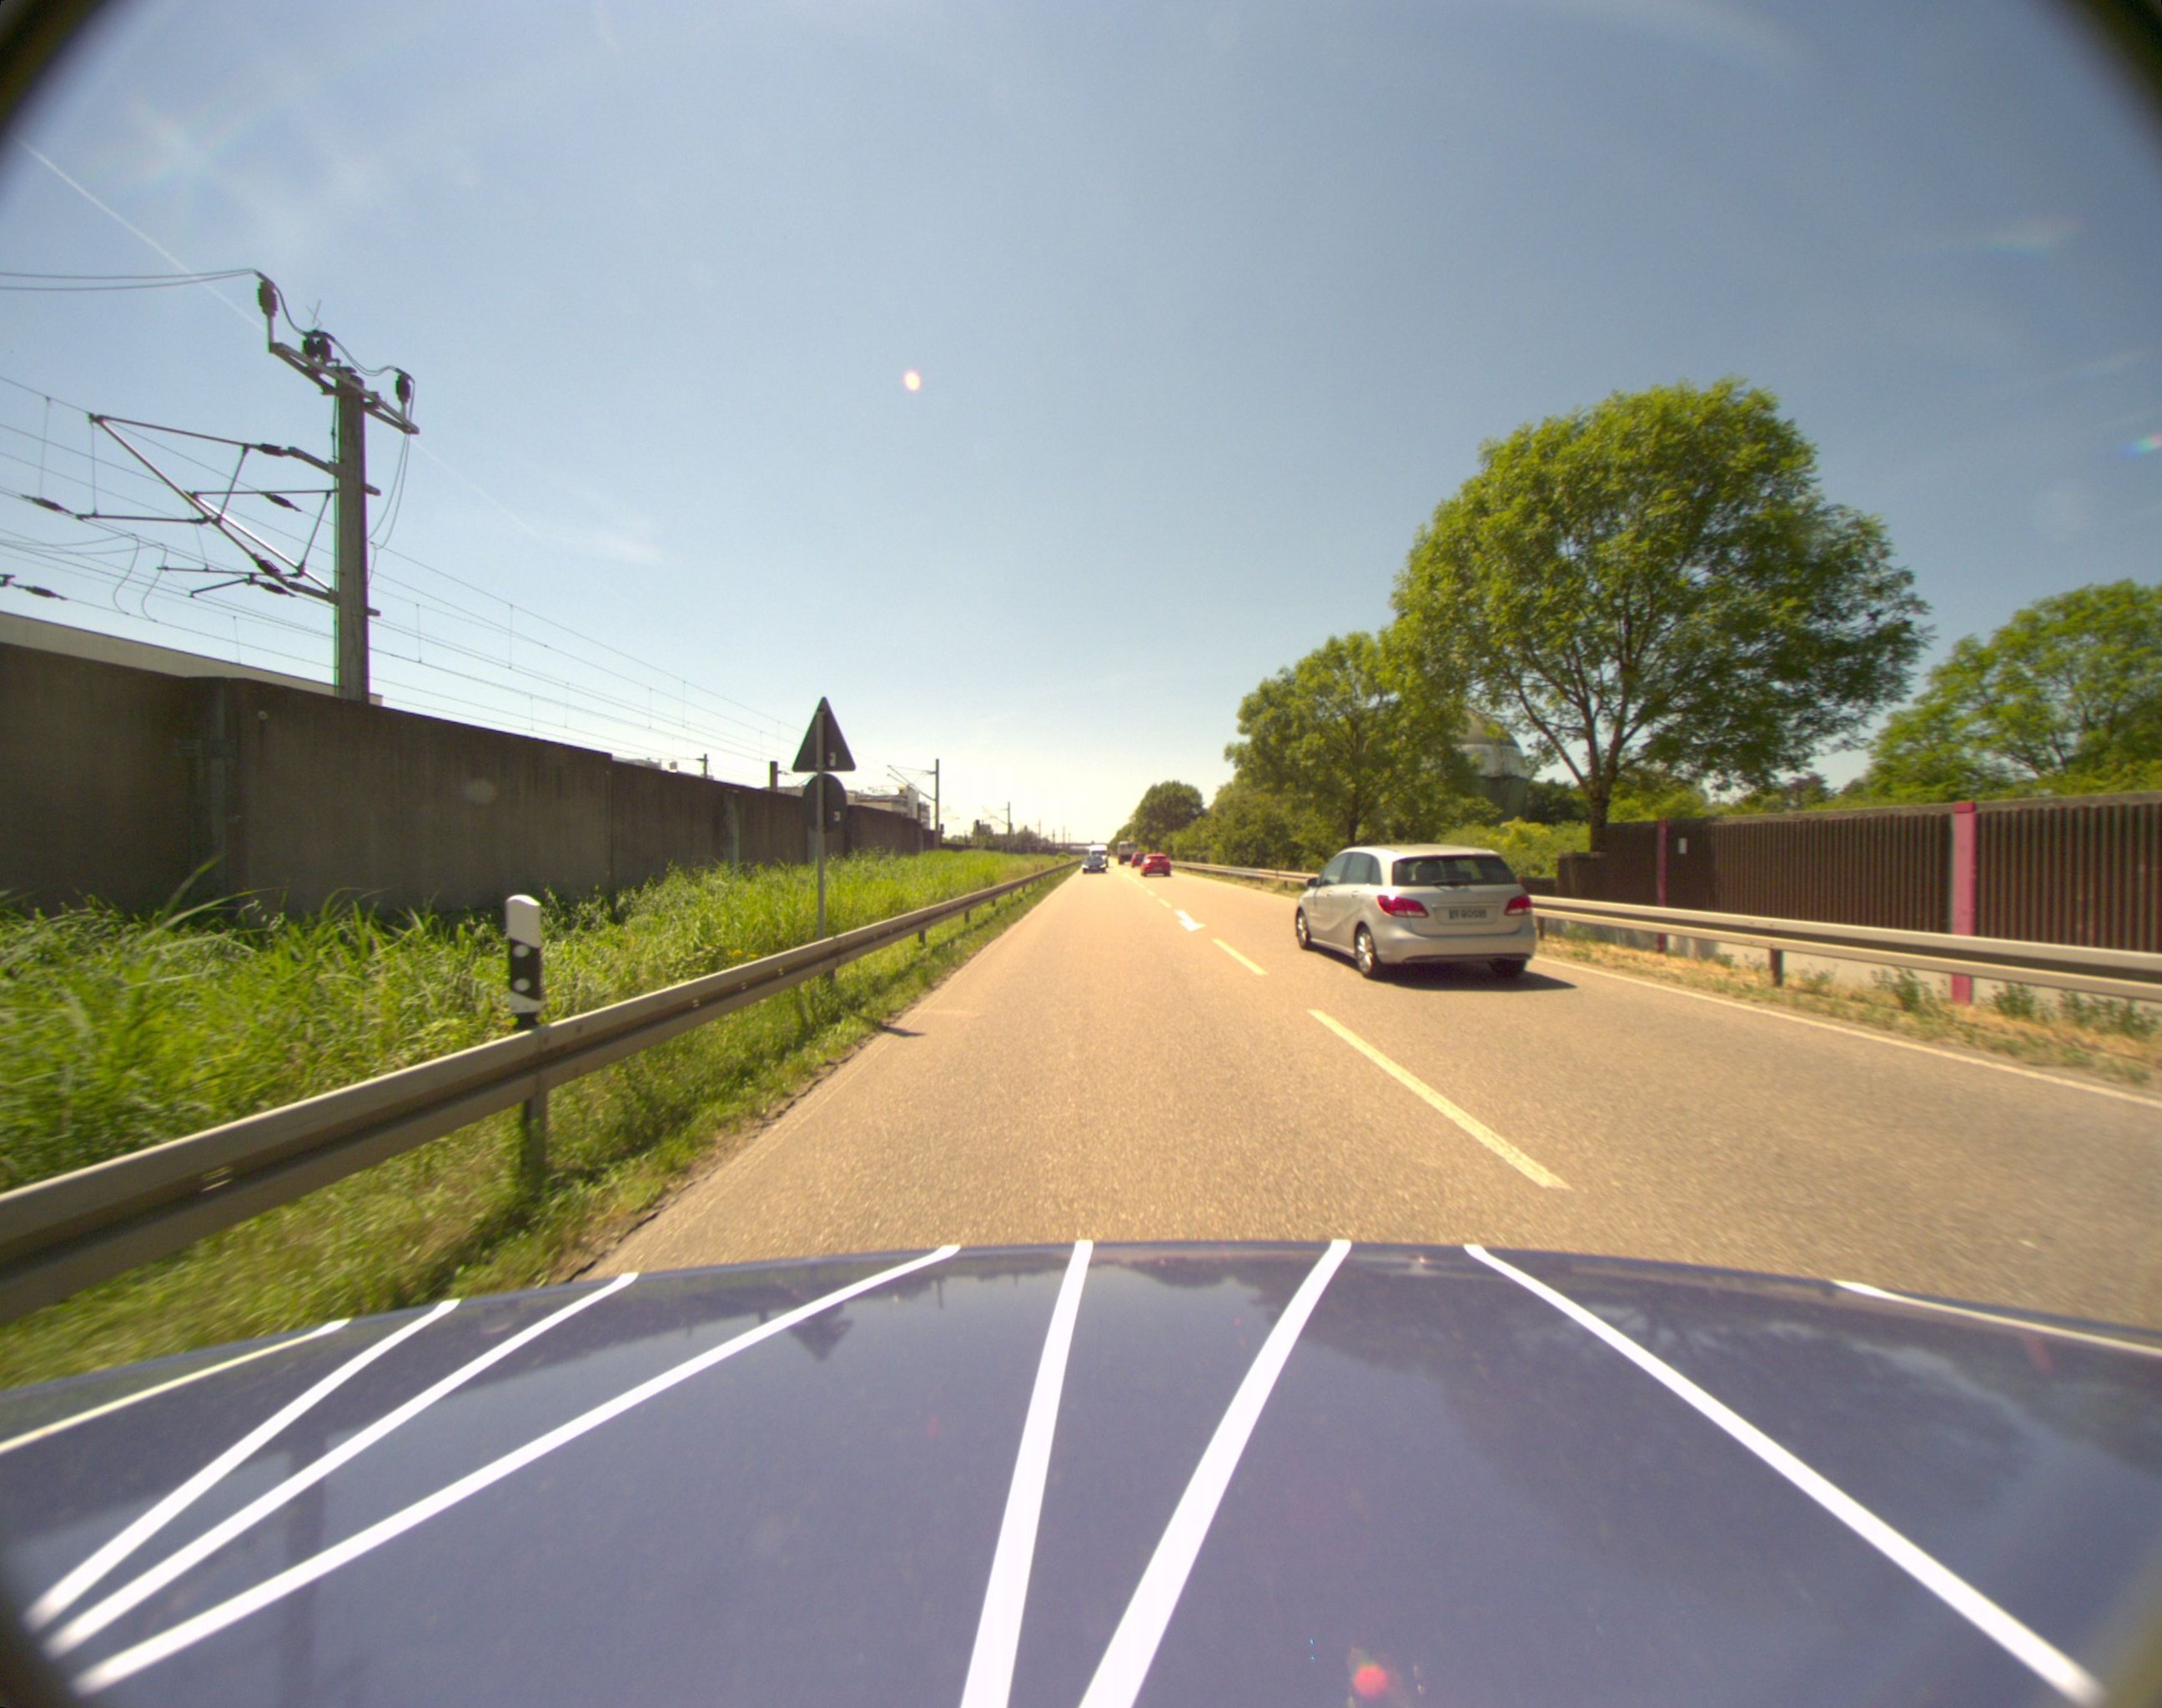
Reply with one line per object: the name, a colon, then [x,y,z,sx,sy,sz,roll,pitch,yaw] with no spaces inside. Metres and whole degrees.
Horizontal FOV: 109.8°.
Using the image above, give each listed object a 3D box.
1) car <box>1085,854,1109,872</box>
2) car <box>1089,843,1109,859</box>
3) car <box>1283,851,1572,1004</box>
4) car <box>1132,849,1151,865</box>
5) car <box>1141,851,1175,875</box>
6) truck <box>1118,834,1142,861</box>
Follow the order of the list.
car: [1.226,0.661,58.601,1.758,1.313,4.000,-2,0,1]
car: [1.999,-0.344,83.843,2.161,1.701,4.493,-2,0,1]
car: [4.115,0.742,9.931,1.794,1.517,4.390,-1,0,1]
car: [6.235,0.300,78.616,1.657,1.543,4.000,-1,0,1]
car: [4.901,0.561,48.870,1.794,1.413,4.000,-1,0,0]
truck: [6.462,-0.827,101.054,2.790,3.385,7.988,-2,0,1]
